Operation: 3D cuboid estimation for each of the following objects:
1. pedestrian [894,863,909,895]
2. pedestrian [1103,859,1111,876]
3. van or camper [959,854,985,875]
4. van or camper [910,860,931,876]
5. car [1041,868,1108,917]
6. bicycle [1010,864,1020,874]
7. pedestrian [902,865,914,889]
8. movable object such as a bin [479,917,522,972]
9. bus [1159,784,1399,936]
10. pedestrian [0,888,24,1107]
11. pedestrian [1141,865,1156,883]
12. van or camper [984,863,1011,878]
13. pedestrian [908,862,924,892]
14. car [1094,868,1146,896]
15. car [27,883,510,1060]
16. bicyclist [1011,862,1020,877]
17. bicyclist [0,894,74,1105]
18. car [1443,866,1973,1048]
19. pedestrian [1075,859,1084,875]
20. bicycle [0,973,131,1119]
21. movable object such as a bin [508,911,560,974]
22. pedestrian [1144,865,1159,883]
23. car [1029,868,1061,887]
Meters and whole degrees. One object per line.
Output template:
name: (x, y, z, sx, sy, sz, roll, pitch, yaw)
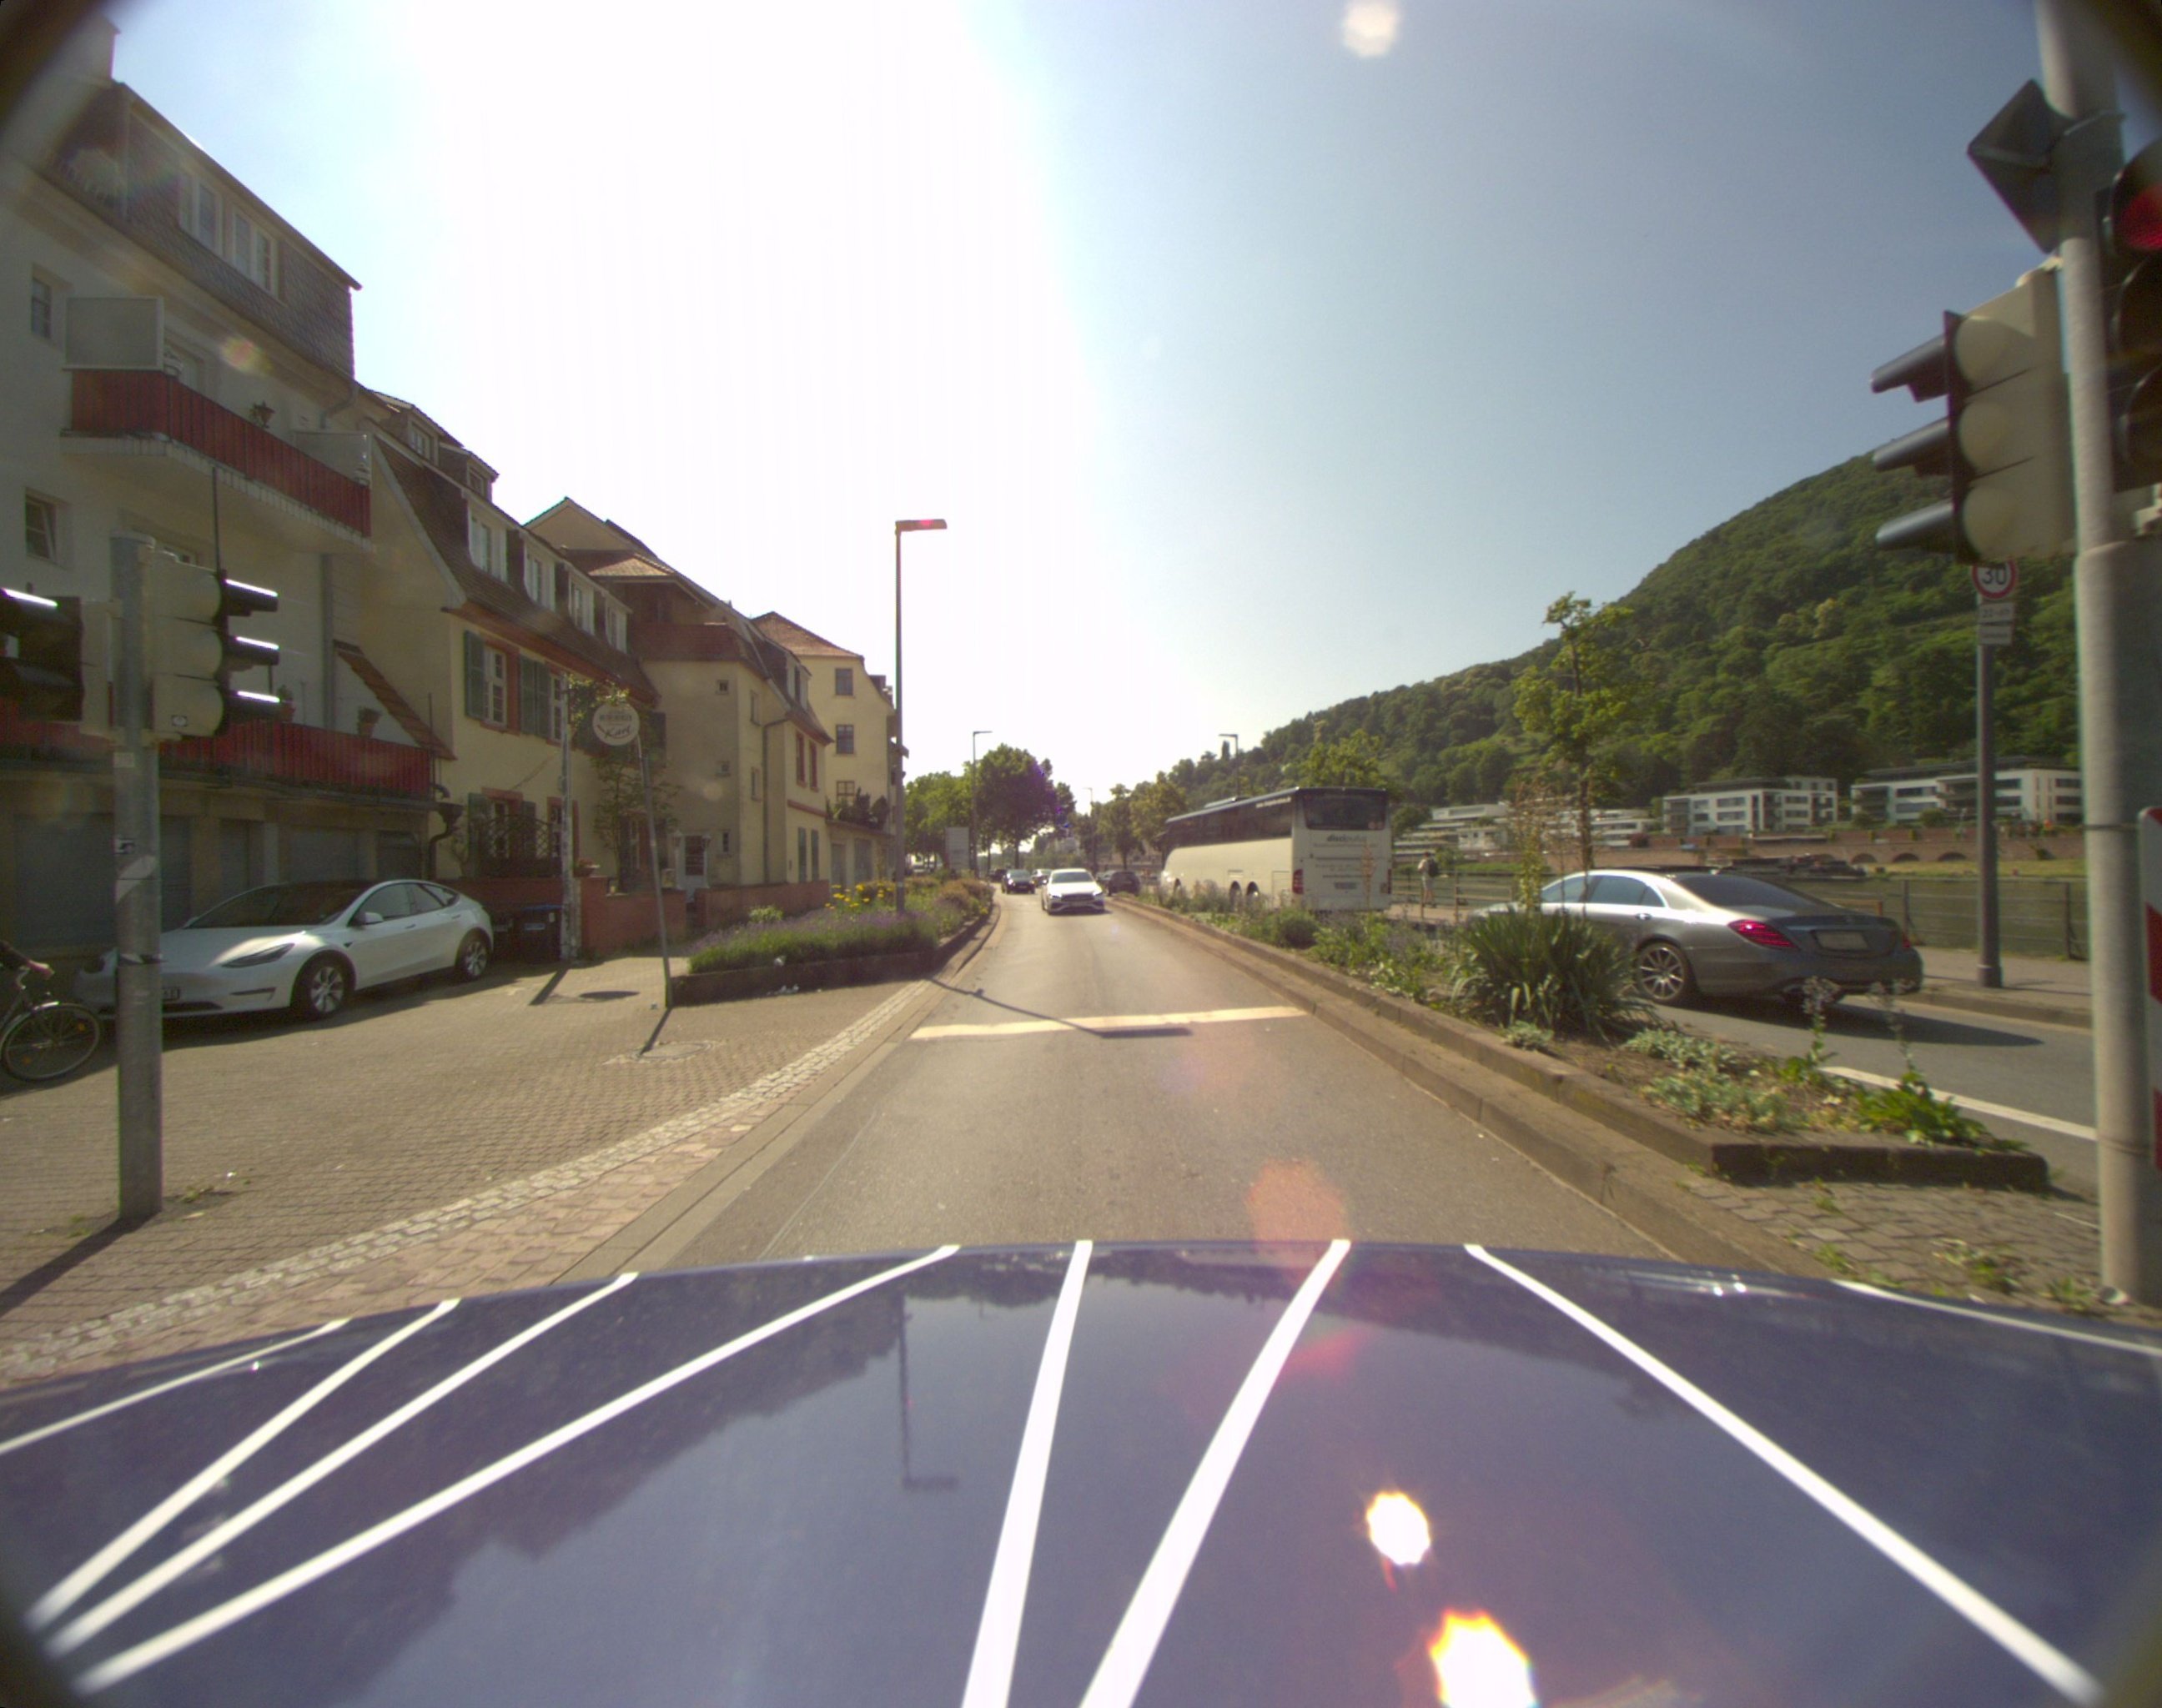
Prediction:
pedestrian: (-9.596, 1.350, 40.627, 0.740, 1.688, 0.933, 0, 0, -10)
pedestrian: (2.501, 1.311, 73.081, 0.696, 1.606, 0.663, -1, 0, -10)
van or camper: (-13.443, 1.279, 93.494, 2.095, 2.542, 7.082, -1, 0, -17)
van or camper: (-25.243, 2.171, 119.370, 2.441, 2.271, 6.194, -1, 0, -18)
car: (-0.323, 1.226, 25.692, 1.876, 1.415, 4.743, -2, -1, -5)
bicycle: (-7.372, 1.663, 84.697, 0.714, 1.161, 1.894, -1, -1, -15)
pedestrian: (-12.880, 1.711, 56.516, 0.764, 1.703, 0.695, 2, -1, -15)
movable object such as a bin: (-10.320, 1.598, 13.514, 0.496, 0.938, 0.320, -1, 0, -2)
bus: (5.363, 0.101, 24.309, 2.639, 3.543, 12.972, -1, 0, -8)
pedestrian: (-9.479, 1.212, 6.201, 0.764, 1.847, 0.609, 1, 0, -10)
pedestrian: (4.997, 1.479, 56.257, 0.939, 1.273, 0.849, -1, 0, -9)
van or camper: (-8.452, 1.669, 76.608, 2.001, 1.446, 4.676, 1, -1, -15)
pedestrian: (-8.829, 1.239, 40.719, 0.764, 1.586, 0.695, -1, 0, -10)
car: (2.035, 1.450, 40.634, 1.823, 1.421, 4.189, 0, -1, -11)
car: (-9.896, 1.252, 10.000, 1.884, 1.568, 4.723, -1, 0, -11)
bicyclist: (-7.318, 1.700, 84.548, 0.743, 1.657, 1.088, -1, -1, -16)
bicyclist: (-8.597, 1.122, 5.677, 0.769, 1.574, 1.088, -1, 0, -16)
car: (7.009, 0.998, 9.527, 2.000, 1.589, 5.154, 2, -1, -6)
pedestrian: (-0.180, 1.359, 78.272, 0.759, 1.672, 0.657, 0, 0, -14)
bicycle: (-8.576, 1.537, 5.765, 0.752, 0.958, 1.780, -1, 0, -14)
movable object such as a bin: (-9.726, 1.565, 13.524, 0.642, 1.061, 0.364, -1, 0, -2)
pedestrian: (5.143, 1.473, 55.357, 0.939, 1.273, 0.849, -1, 0, -9)
car: (-2.827, 1.798, 58.973, 1.820, 1.419, 4.306, 1, -1, -12)
